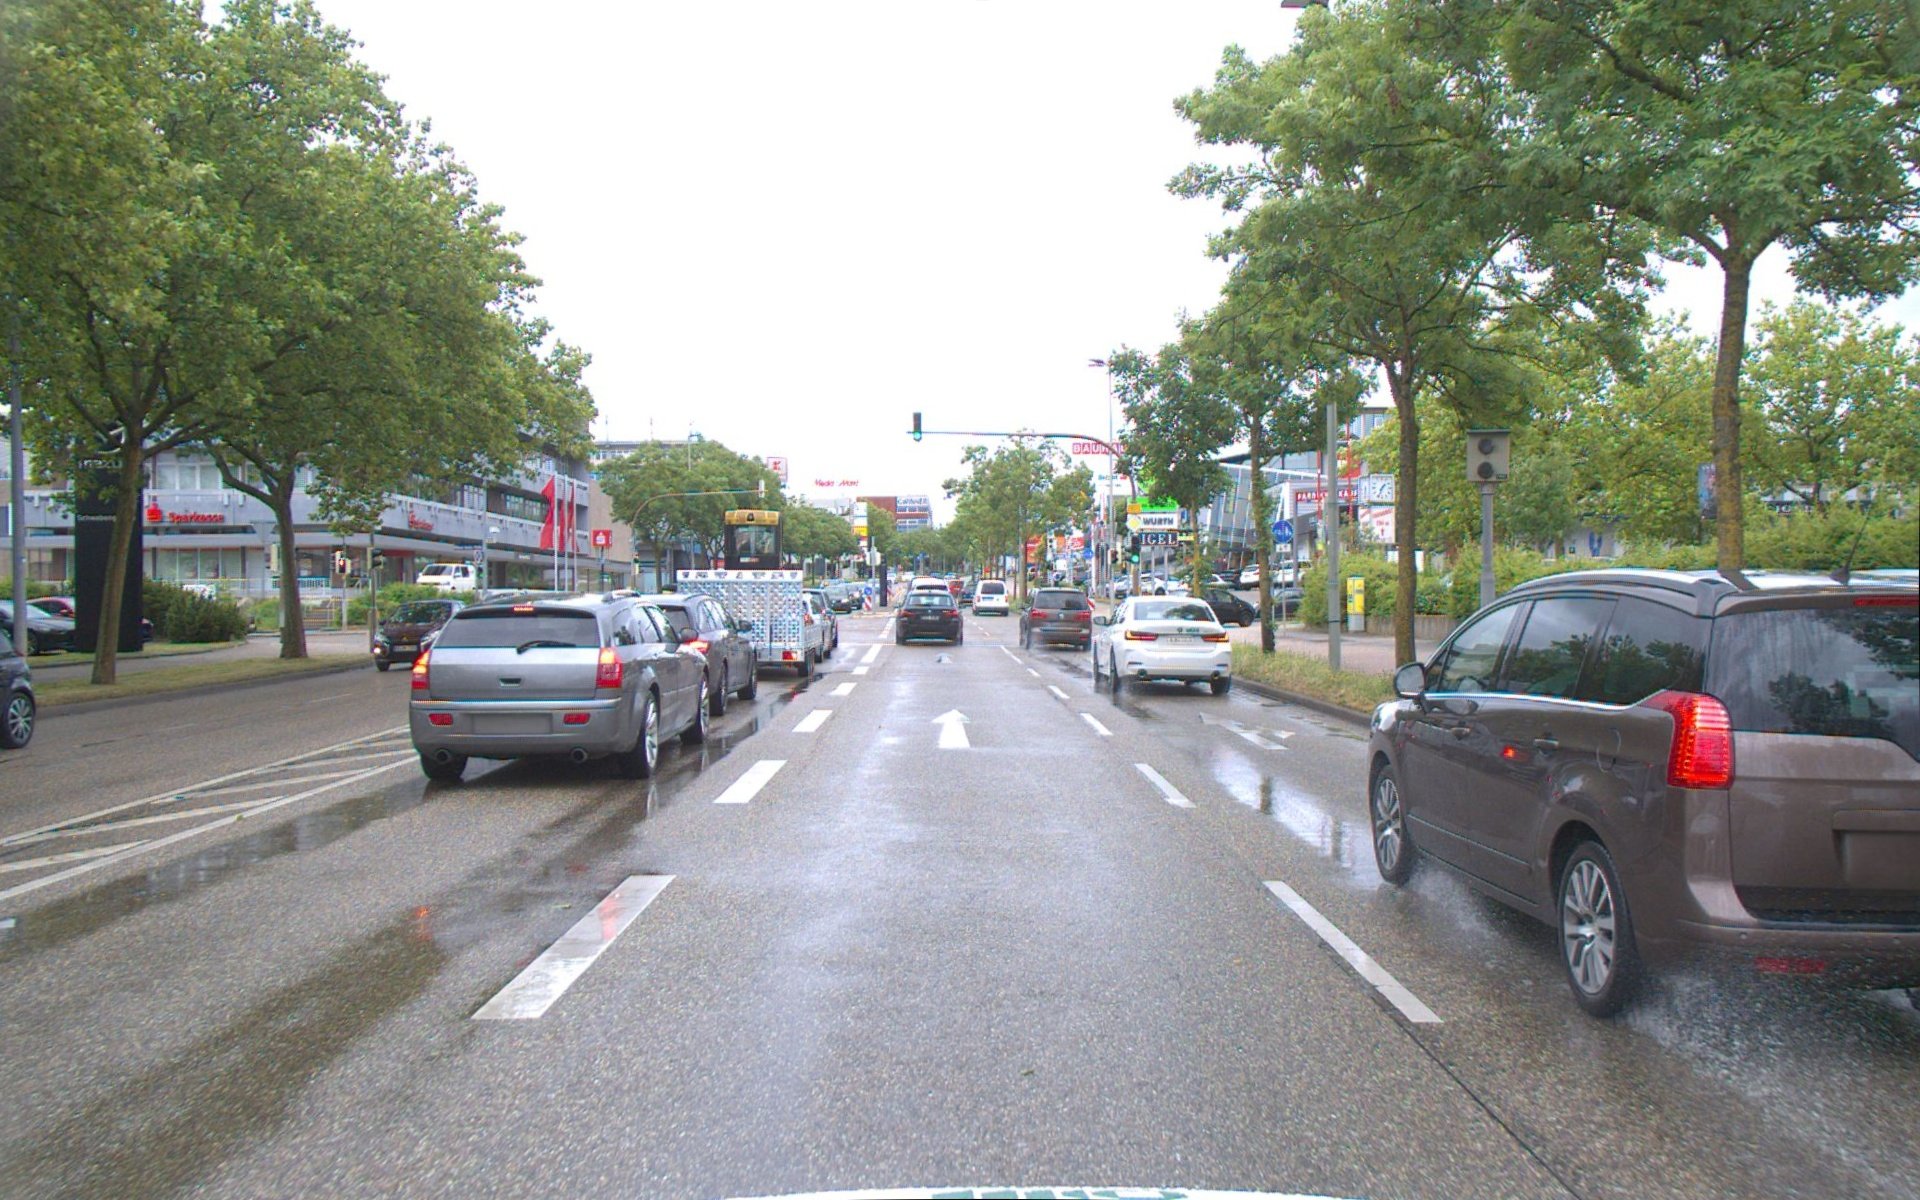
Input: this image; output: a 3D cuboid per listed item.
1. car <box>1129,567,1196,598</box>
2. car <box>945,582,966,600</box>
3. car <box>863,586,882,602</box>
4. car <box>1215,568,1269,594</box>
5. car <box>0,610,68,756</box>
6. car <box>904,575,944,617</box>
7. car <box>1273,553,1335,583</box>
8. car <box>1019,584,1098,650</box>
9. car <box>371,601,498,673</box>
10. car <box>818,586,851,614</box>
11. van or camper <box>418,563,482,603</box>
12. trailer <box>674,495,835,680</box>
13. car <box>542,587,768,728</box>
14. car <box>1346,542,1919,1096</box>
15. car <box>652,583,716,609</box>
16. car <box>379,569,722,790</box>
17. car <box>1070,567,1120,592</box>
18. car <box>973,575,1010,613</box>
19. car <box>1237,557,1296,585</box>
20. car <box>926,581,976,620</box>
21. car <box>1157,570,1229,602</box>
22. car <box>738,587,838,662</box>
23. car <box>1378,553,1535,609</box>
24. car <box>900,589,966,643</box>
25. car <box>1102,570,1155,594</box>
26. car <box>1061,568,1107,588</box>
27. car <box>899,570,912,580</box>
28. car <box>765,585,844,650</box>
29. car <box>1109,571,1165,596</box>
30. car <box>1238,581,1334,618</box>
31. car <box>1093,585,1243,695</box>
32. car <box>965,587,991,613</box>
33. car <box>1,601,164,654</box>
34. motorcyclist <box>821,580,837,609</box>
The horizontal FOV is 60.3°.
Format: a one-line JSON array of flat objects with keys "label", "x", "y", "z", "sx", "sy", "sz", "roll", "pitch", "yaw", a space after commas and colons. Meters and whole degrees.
[{"label": "car", "x": 12.541, "y": -1.066, "z": 102.240, "sx": 3.991, "sy": 1.691, "sz": 1.953, "roll": -4, "pitch": 2, "yaw": -41}, {"label": "car", "x": -0.370, "y": -0.733, "z": 137.970, "sx": 1.660, "sy": 1.468, "sz": 3.988, "roll": -1, "pitch": 0, "yaw": 0}, {"label": "car", "x": -8.344, "y": -0.581, "z": 157.981, "sx": 1.688, "sy": 1.422, "sz": 4.788, "roll": -3, "pitch": 0, "yaw": -1}, {"label": "car", "x": 20.123, "y": -1.356, "z": 117.950, "sx": 3.940, "sy": 1.750, "sz": 1.610, "roll": -2, "pitch": 1, "yaw": -41}, {"label": "car", "x": -10.665, "y": 0.887, "z": 16.250, "sx": 1.675, "sy": 1.490, "sz": 4.083, "roll": -2, "pitch": 0, "yaw": -2}, {"label": "car", "x": -1.833, "y": -0.171, "z": 84.436, "sx": 1.953, "sy": 2.049, "sz": 3.999, "roll": 1, "pitch": 0, "yaw": -1}, {"label": "car", "x": 21.134, "y": -1.980, "z": 101.619, "sx": 4.123, "sy": 1.802, "sz": 1.710, "roll": -2, "pitch": 1, "yaw": -44}, {"label": "car", "x": 2.557, "y": 0.400, "z": 43.868, "sx": 1.764, "sy": 1.614, "sz": 4.450, "roll": 1, "pitch": 1, "yaw": 0}, {"label": "car", "x": -11.854, "y": 0.792, "z": 37.545, "sx": 1.675, "sy": 1.490, "sz": 4.083, "roll": -2, "pitch": 0, "yaw": -2}, {"label": "car", "x": -6.642, "y": -0.009, "z": 87.632, "sx": 1.649, "sy": 1.401, "sz": 3.997, "roll": -1, "pitch": 1, "yaw": -4}, {"label": "van or camper", "x": -26.692, "y": -0.869, "z": 86.699, "sx": 1.953, "sy": 2.001, "sz": 4.787, "roll": 1, "pitch": 0, "yaw": -1}, {"label": "trailer", "x": -3.558, "y": -0.216, "z": 29.689, "sx": 2.325, "sy": 2.947, "sz": 5.543, "roll": -1, "pitch": 0, "yaw": -2}, {"label": "car", "x": -3.703, "y": 0.630, "z": 20.949, "sx": 1.953, "sy": 1.454, "sz": 4.554, "roll": -2, "pitch": 1, "yaw": 0}, {"label": "car", "x": 3.084, "y": 0.637, "z": 7.224, "sx": 1.691, "sy": 1.652, "sz": 4.470, "roll": -1, "pitch": 0, "yaw": -1}, {"label": "car", "x": -18.111, "y": -0.278, "z": 108.470, "sx": 3.917, "sy": 1.579, "sz": 1.894, "roll": -1, "pitch": 1, "yaw": 34}, {"label": "car", "x": -3.410, "y": 0.581, "z": 14.810, "sx": 1.868, "sy": 1.606, "sz": 4.880, "roll": -1, "pitch": 0, "yaw": -1}, {"label": "car", "x": 11.195, "y": -1.722, "z": 137.460, "sx": 4.026, "sy": 1.938, "sz": 1.800, "roll": -1, "pitch": 1, "yaw": 0}, {"label": "car", "x": 1.616, "y": -0.332, "z": 85.980, "sx": 1.746, "sy": 1.899, "sz": 3.999, "roll": -1, "pitch": 0, "yaw": -1}, {"label": "car", "x": 20.653, "y": -1.962, "z": 111.282, "sx": 4.117, "sy": 1.802, "sz": 1.712, "roll": -2, "pitch": 1, "yaw": -41}, {"label": "car", "x": -0.374, "y": -0.008, "z": 63.152, "sx": 1.649, "sy": 1.401, "sz": 3.997, "roll": -1, "pitch": 1, "yaw": -4}, {"label": "car", "x": 12.744, "y": -0.776, "z": 90.300, "sx": 1.896, "sy": 1.604, "sz": 4.265, "roll": -1, "pitch": 1, "yaw": 40}, {"label": "car", "x": -3.676, "y": 0.487, "z": 36.015, "sx": 1.729, "sy": 1.484, "sz": 4.780, "roll": -1, "pitch": 0, "yaw": -1}, {"label": "car", "x": 13.905, "y": -0.538, "z": 46.413, "sx": 3.904, "sy": 1.467, "sz": 1.655, "roll": -1, "pitch": 1, "yaw": 1}, {"label": "car", "x": -0.760, "y": 0.403, "z": 45.512, "sx": 1.745, "sy": 1.422, "sz": 3.999, "roll": 0, "pitch": 0, "yaw": -1}, {"label": "car", "x": 11.797, "y": -1.291, "z": 115.674, "sx": 3.567, "sy": 1.562, "sz": 1.770, "roll": -2, "pitch": 1, "yaw": -41}, {"label": "car", "x": 10.869, "y": -1.916, "z": 144.728, "sx": 4.024, "sy": 1.733, "sz": 1.801, "roll": -1, "pitch": 1, "yaw": 5}, {"label": "car", "x": -8.511, "y": -3.907, "z": 258.688, "sx": 1.904, "sy": 1.473, "sz": 3.999, "roll": 0, "pitch": 1, "yaw": -2}, {"label": "car", "x": -3.891, "y": 0.401, "z": 41.965, "sx": 1.679, "sy": 1.515, "sz": 4.077, "roll": -1, "pitch": 0, "yaw": -1}, {"label": "car", "x": 11.580, "y": -1.103, "z": 107.969, "sx": 3.566, "sy": 1.563, "sz": 1.619, "roll": -2, "pitch": 1, "yaw": -41}, {"label": "car", "x": 14.599, "y": -0.035, "z": 74.137, "sx": 3.898, "sy": 1.515, "sz": 1.817, "roll": -2, "pitch": 0, "yaw": -1}, {"label": "car", "x": 3.202, "y": 0.573, "z": 26.305, "sx": 1.764, "sy": 1.571, "sz": 4.619, "roll": 1, "pitch": 0, "yaw": 0}, {"label": "car", "x": 1.155, "y": 0.011, "z": 108.897, "sx": 1.650, "sy": 1.713, "sz": 3.402, "roll": 1, "pitch": 0, "yaw": 0}, {"label": "car", "x": -24.962, "y": 0.773, "z": 47.154, "sx": 3.668, "sy": 1.317, "sz": 1.688, "roll": -2, "pitch": 1, "yaw": -6}, {"label": "motorcyclist", "x": -7.302, "y": -0.314, "z": 92.226, "sx": 0.790, "sy": 1.586, "sz": 1.267, "roll": -1, "pitch": 1, "yaw": -3}]
